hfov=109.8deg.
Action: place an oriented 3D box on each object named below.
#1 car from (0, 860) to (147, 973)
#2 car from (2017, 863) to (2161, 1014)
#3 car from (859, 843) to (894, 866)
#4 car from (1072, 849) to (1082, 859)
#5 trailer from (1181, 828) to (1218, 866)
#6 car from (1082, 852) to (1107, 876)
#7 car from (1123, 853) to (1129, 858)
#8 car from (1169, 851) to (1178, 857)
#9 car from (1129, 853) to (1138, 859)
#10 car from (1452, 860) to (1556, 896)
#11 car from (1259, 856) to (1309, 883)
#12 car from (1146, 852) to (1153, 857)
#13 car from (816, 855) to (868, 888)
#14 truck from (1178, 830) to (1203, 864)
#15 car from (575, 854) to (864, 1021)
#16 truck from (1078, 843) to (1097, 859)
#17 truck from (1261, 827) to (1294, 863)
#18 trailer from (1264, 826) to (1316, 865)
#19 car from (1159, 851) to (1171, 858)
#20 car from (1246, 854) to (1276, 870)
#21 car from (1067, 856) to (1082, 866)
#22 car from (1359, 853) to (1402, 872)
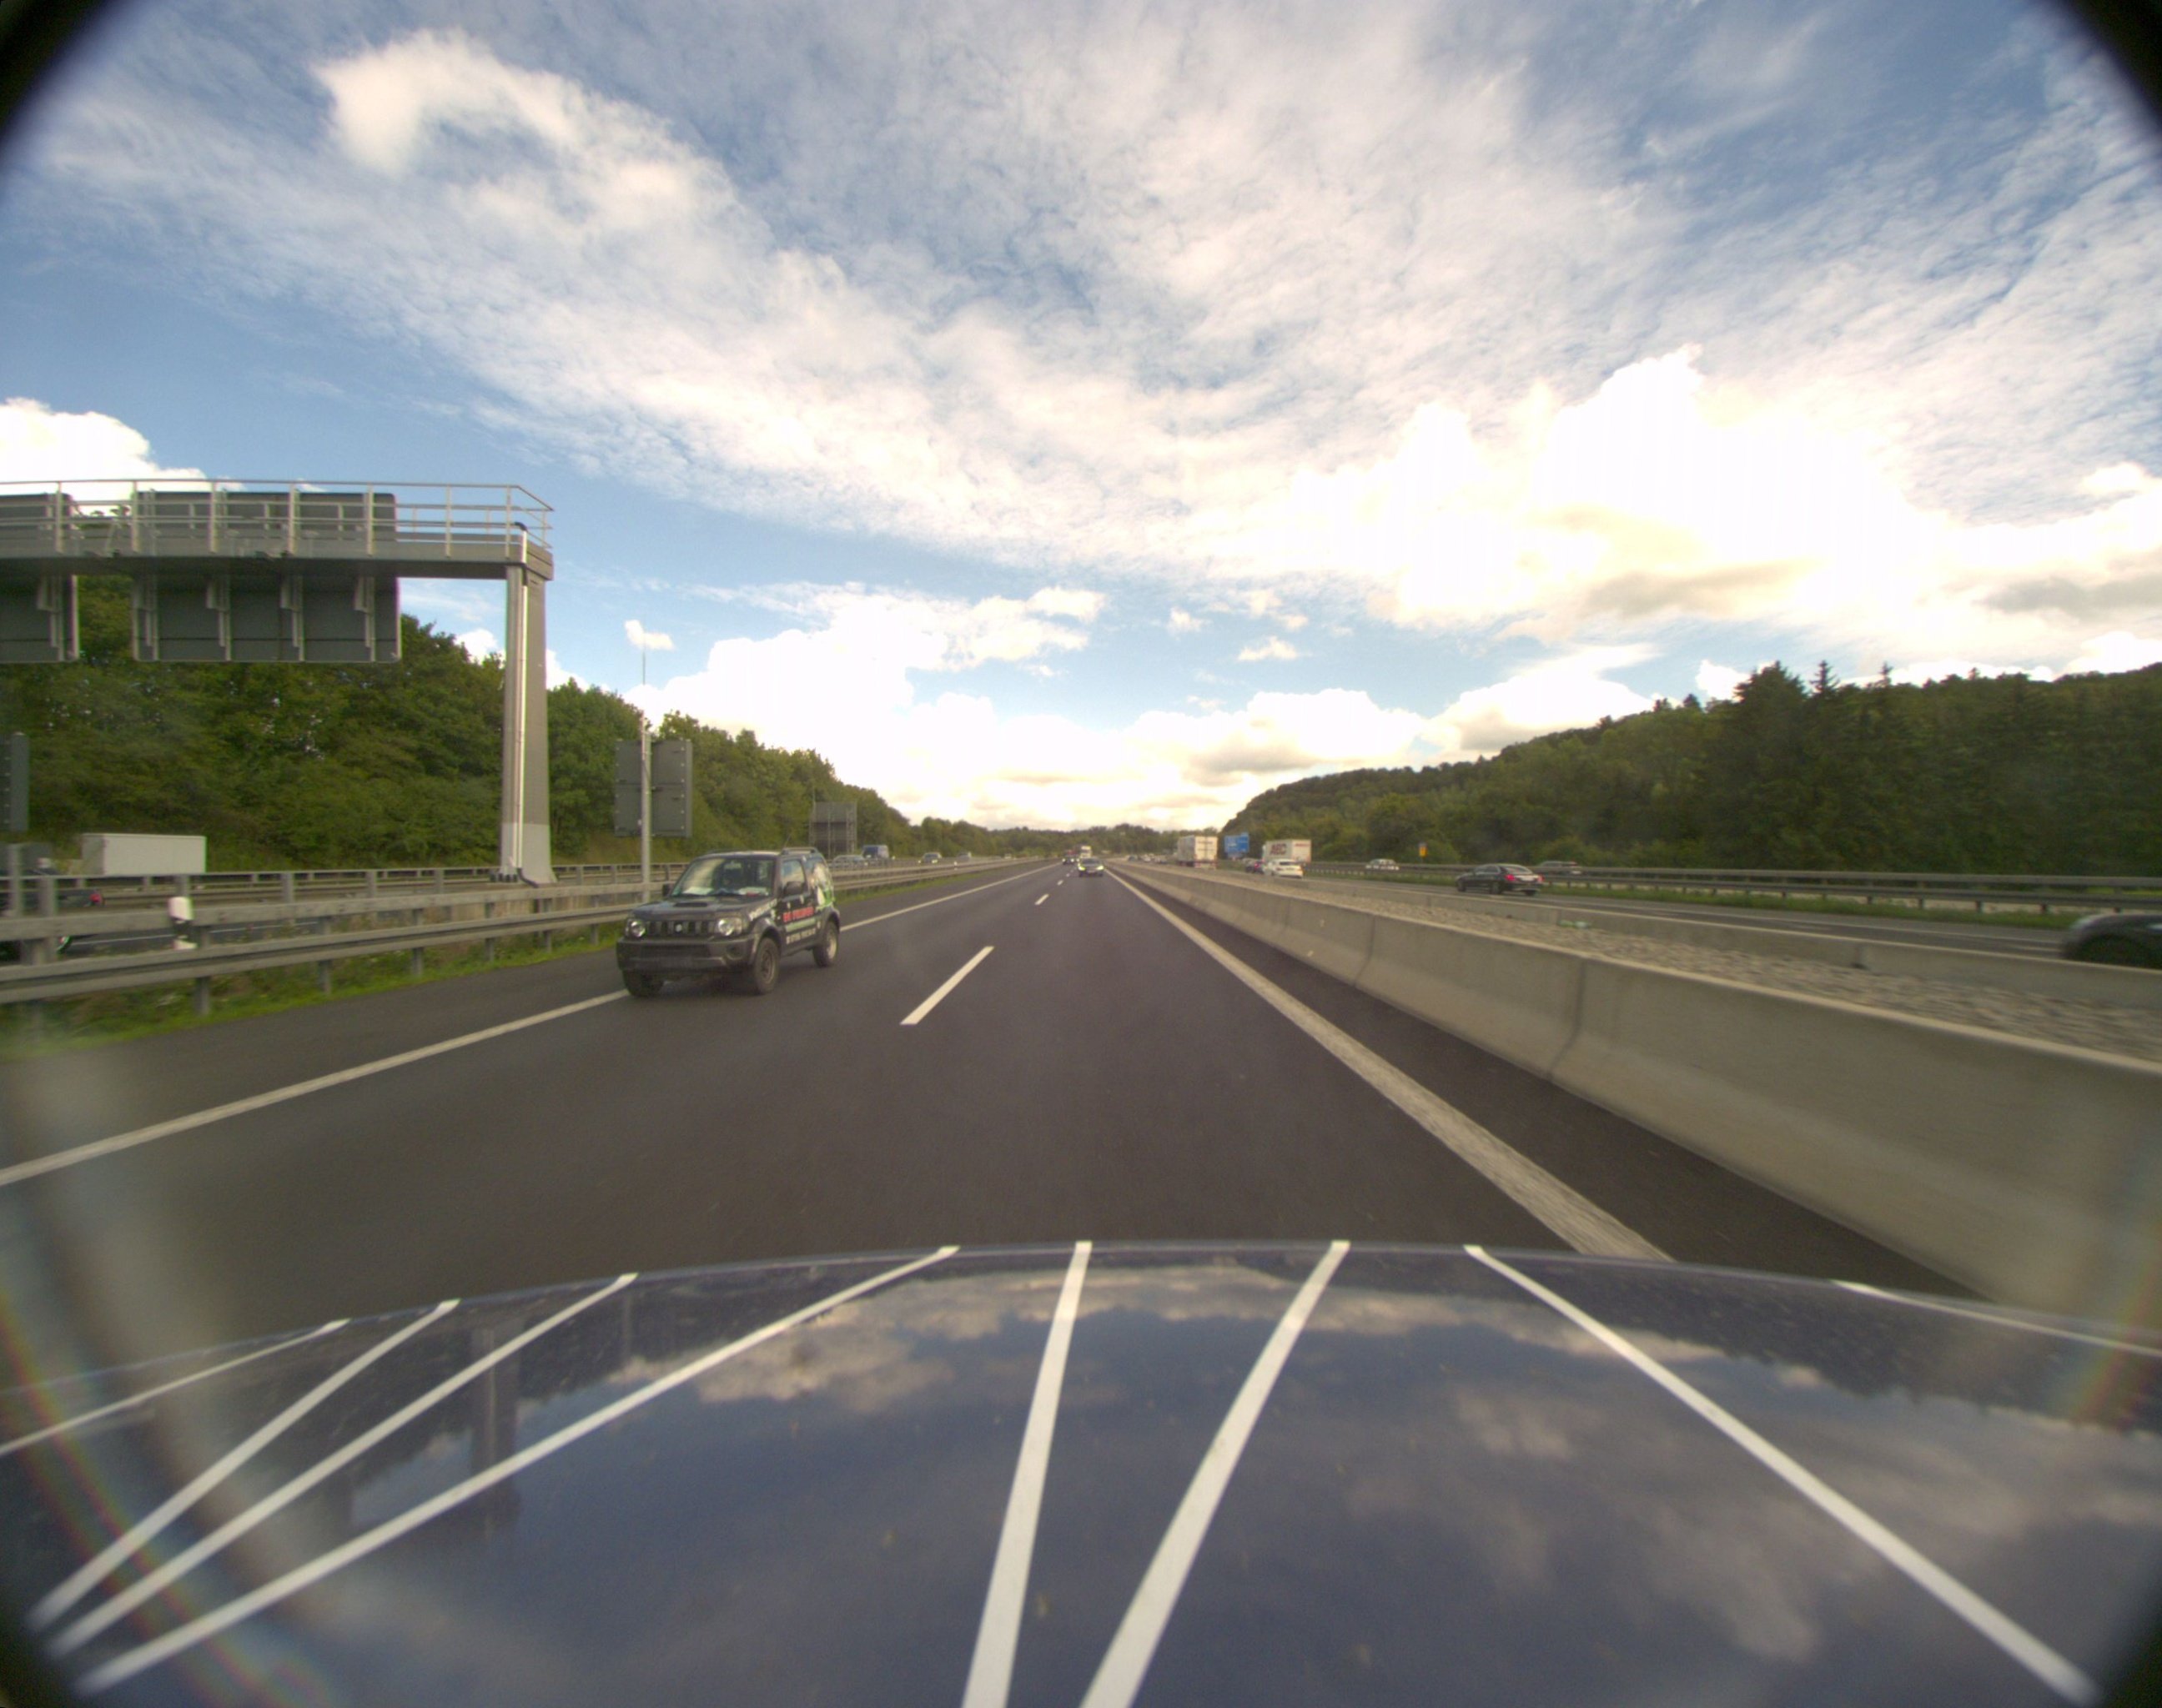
[{"bbox_3d":[-15.306,0.854,9.457,1.999,1.476,4.310,-1,1,0],"label":"car"},{"bbox_3d":[12.609,0.947,7.343,1.805,1.608,4.301,1,1,1],"label":"car"},{"bbox_3d":[-19.960,-0.008,74.270,1.999,2.173,5.127,-1,1,0],"label":"car"},{"bbox_3d":[-0.813,-0.082,161.707,1.998,2.002,4.000,1,1,1],"label":"car"},{"bbox_3d":[13.853,-0.819,90.091,2.494,4.105,13.282,1,1,1],"label":"trailer"},{"bbox_3d":[0.996,0.705,55.663,1.724,1.722,3.939,0,1,2],"label":"car"},{"bbox_3d":[14.856,0.427,252.537,1.754,1.621,4.841,1,1,2],"label":"car"},{"bbox_3d":[25.131,0.070,206.454,1.998,1.608,4.709,1,1,3],"label":"car"},{"bbox_3d":[12.108,0.438,174.592,1.852,1.486,4.972,1,1,1],"label":"car"},{"bbox_3d":[19.614,1.071,35.542,1.999,1.443,5.001,1,1,-1],"label":"car"},{"bbox_3d":[13.258,0.954,49.902,1.998,1.608,5.002,1,1,1],"label":"car"},{"bbox_3d":[20.791,0.100,230.431,1.802,1.621,4.754,1,1,2],"label":"car"},{"bbox_3d":[-15.254,1.091,48.719,1.998,2.002,4.000,1,1,1],"label":"car"},{"bbox_3d":[13.922,-0.907,96.677,2.494,4.105,5.298,1,1,1],"label":"truck"},{"bbox_3d":[-4.395,0.877,10.070,1.670,1.722,4.207,0,1,2],"label":"car"},{"bbox_3d":[1.895,-0.905,214.927,4.947,4.306,14.630,1,1,2],"label":"truck"},{"bbox_3d":[29.235,-1.330,113.400,3.033,5.112,6.628,1,1,-1],"label":"truck"},{"bbox_3d":[29.275,-1.227,107.338,3.116,5.130,14.716,1,1,0],"label":"trailer"},{"bbox_3d":[17.984,0.135,162.947,1.947,1.486,5.306,1,1,1],"label":"car"},{"bbox_3d":[18.872,0.785,79.909,1.998,1.608,5.002,1,1,1],"label":"car"},{"bbox_3d":[-1.087,1.123,127.900,1.997,1.591,4.001,1,1,6],"label":"car"},{"bbox_3d":[26.006,0.706,66.144,1.998,1.608,4.708,1,1,1],"label":"car"}]
